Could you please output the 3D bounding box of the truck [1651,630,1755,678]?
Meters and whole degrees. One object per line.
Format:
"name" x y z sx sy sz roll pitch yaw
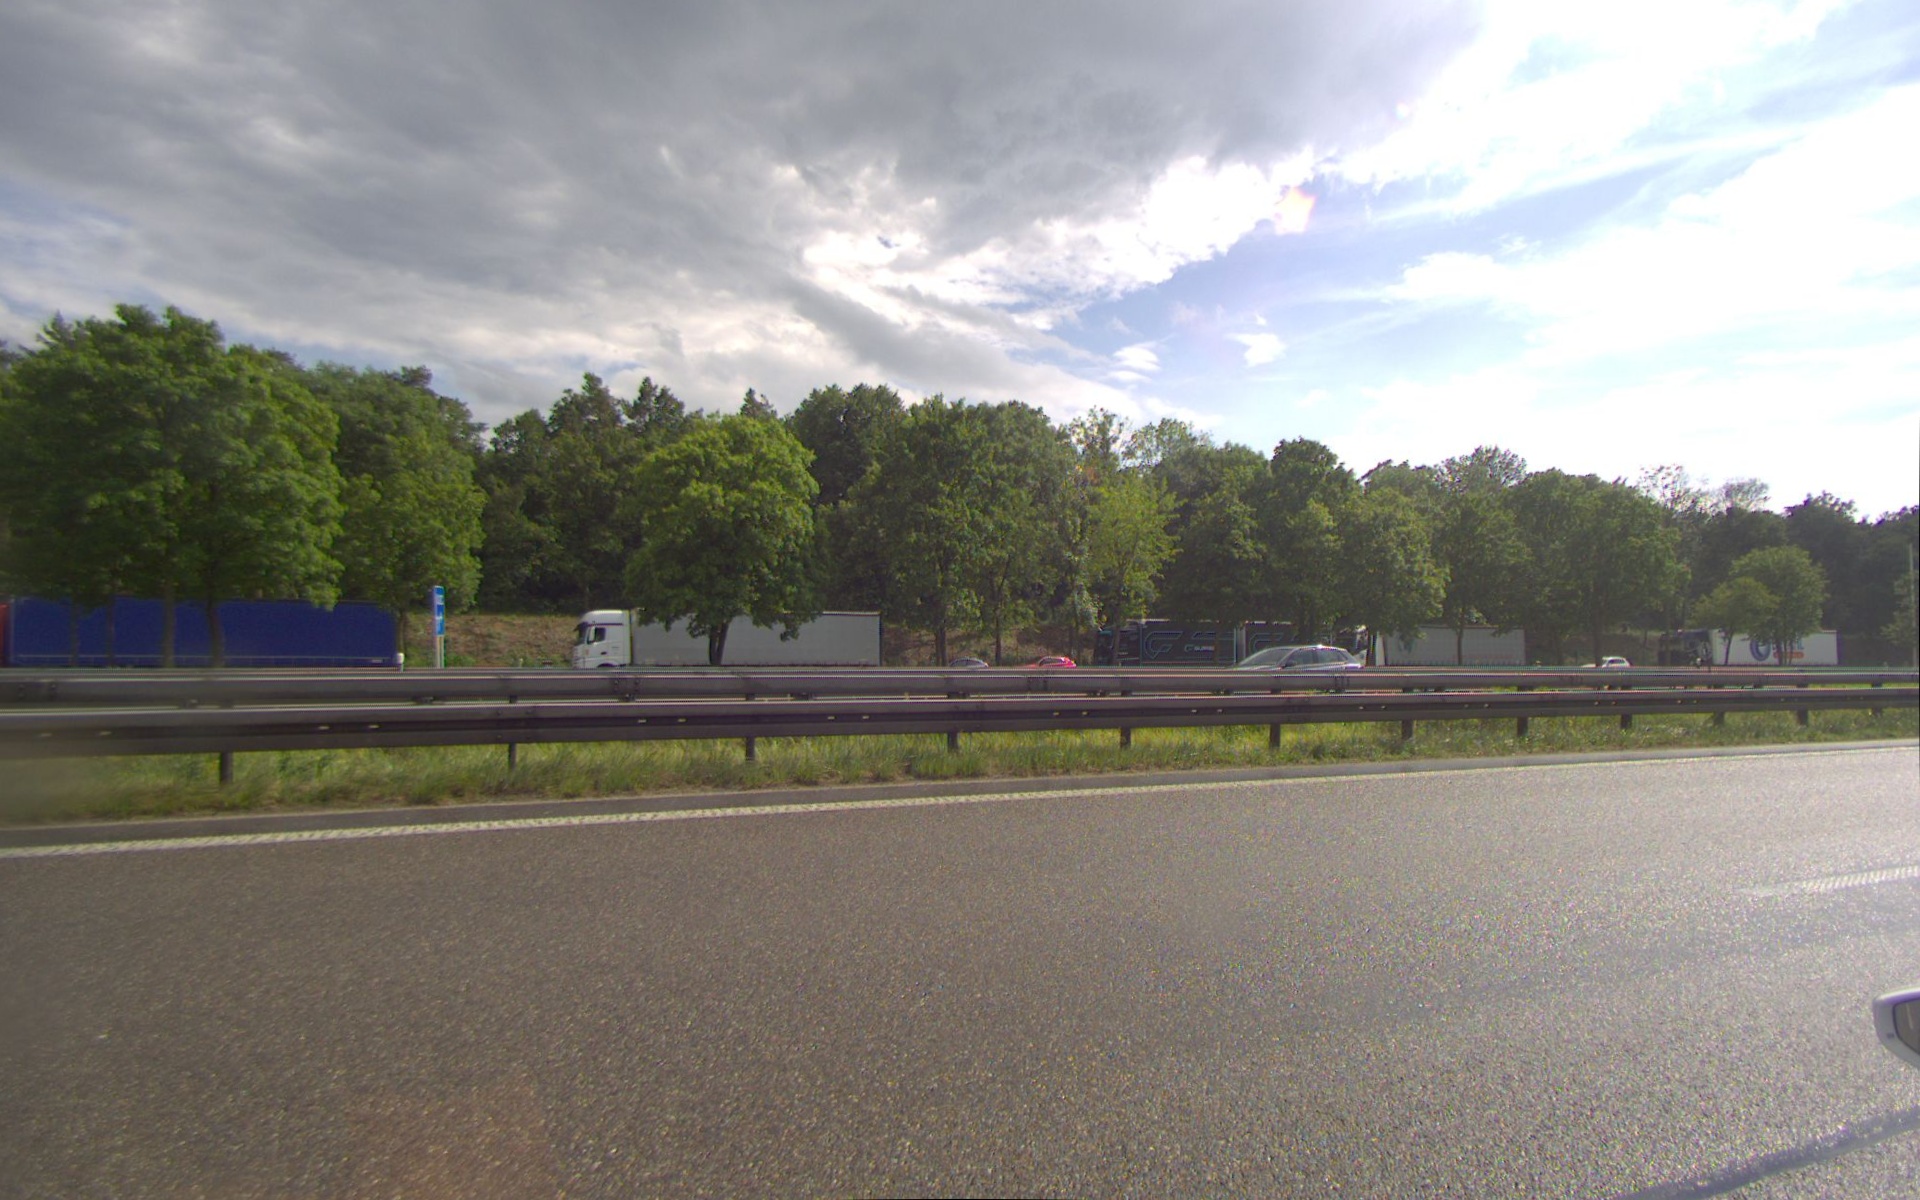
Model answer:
"truck" 62.109 4.518 84.052 6.596 3.708 3.787 2 -1 -17

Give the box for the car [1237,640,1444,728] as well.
"car" 9.225 2.009 24.328 4.710 1.916 1.826 2 -1 -22

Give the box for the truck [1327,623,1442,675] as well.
"truck" 31.451 3.616 74.505 7.247 3.637 3.781 2 -1 -21

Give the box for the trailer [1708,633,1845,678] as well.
"trailer" 70.165 4.753 86.319 10.321 3.697 3.791 1 -2 -15

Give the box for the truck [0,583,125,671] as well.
"truck" -38.495 1.084 41.312 5.827 3.502 2.847 2 -1 -29

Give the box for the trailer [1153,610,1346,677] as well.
"trailer" 20.481 3.128 70.819 13.596 4.463 3.783 2 -2 -21

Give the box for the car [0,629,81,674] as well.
"car" -45.584 2.403 47.200 6.063 2.040 1.983 2 -1 -31

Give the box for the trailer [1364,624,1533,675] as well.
"trailer" 37.415 3.819 76.831 13.147 3.697 3.783 2 -2 -21

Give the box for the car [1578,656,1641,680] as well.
"car" 52.567 5.522 81.350 4.300 1.741 2.057 2 -1 -19

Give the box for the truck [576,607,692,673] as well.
"truck" -17.354 2.102 53.385 5.434 3.316 3.342 2 -1 -26

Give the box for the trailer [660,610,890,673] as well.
"trailer" -10.321 2.378 56.636 12.302 3.258 3.339 2 -2 -24

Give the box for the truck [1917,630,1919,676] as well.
"truck" 91.387 4.934 90.649 6.917 4.171 3.795 2 -1 -8

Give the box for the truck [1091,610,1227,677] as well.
"truck" 13.451 2.938 67.987 8.293 4.290 3.781 2 -1 -22

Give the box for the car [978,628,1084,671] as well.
"car" 4.529 3.174 63.880 6.119 2.515 2.788 2 -1 -22

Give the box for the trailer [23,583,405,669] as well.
"trailer" -32.376 1.285 44.757 13.265 3.449 2.810 2 -2 -30
